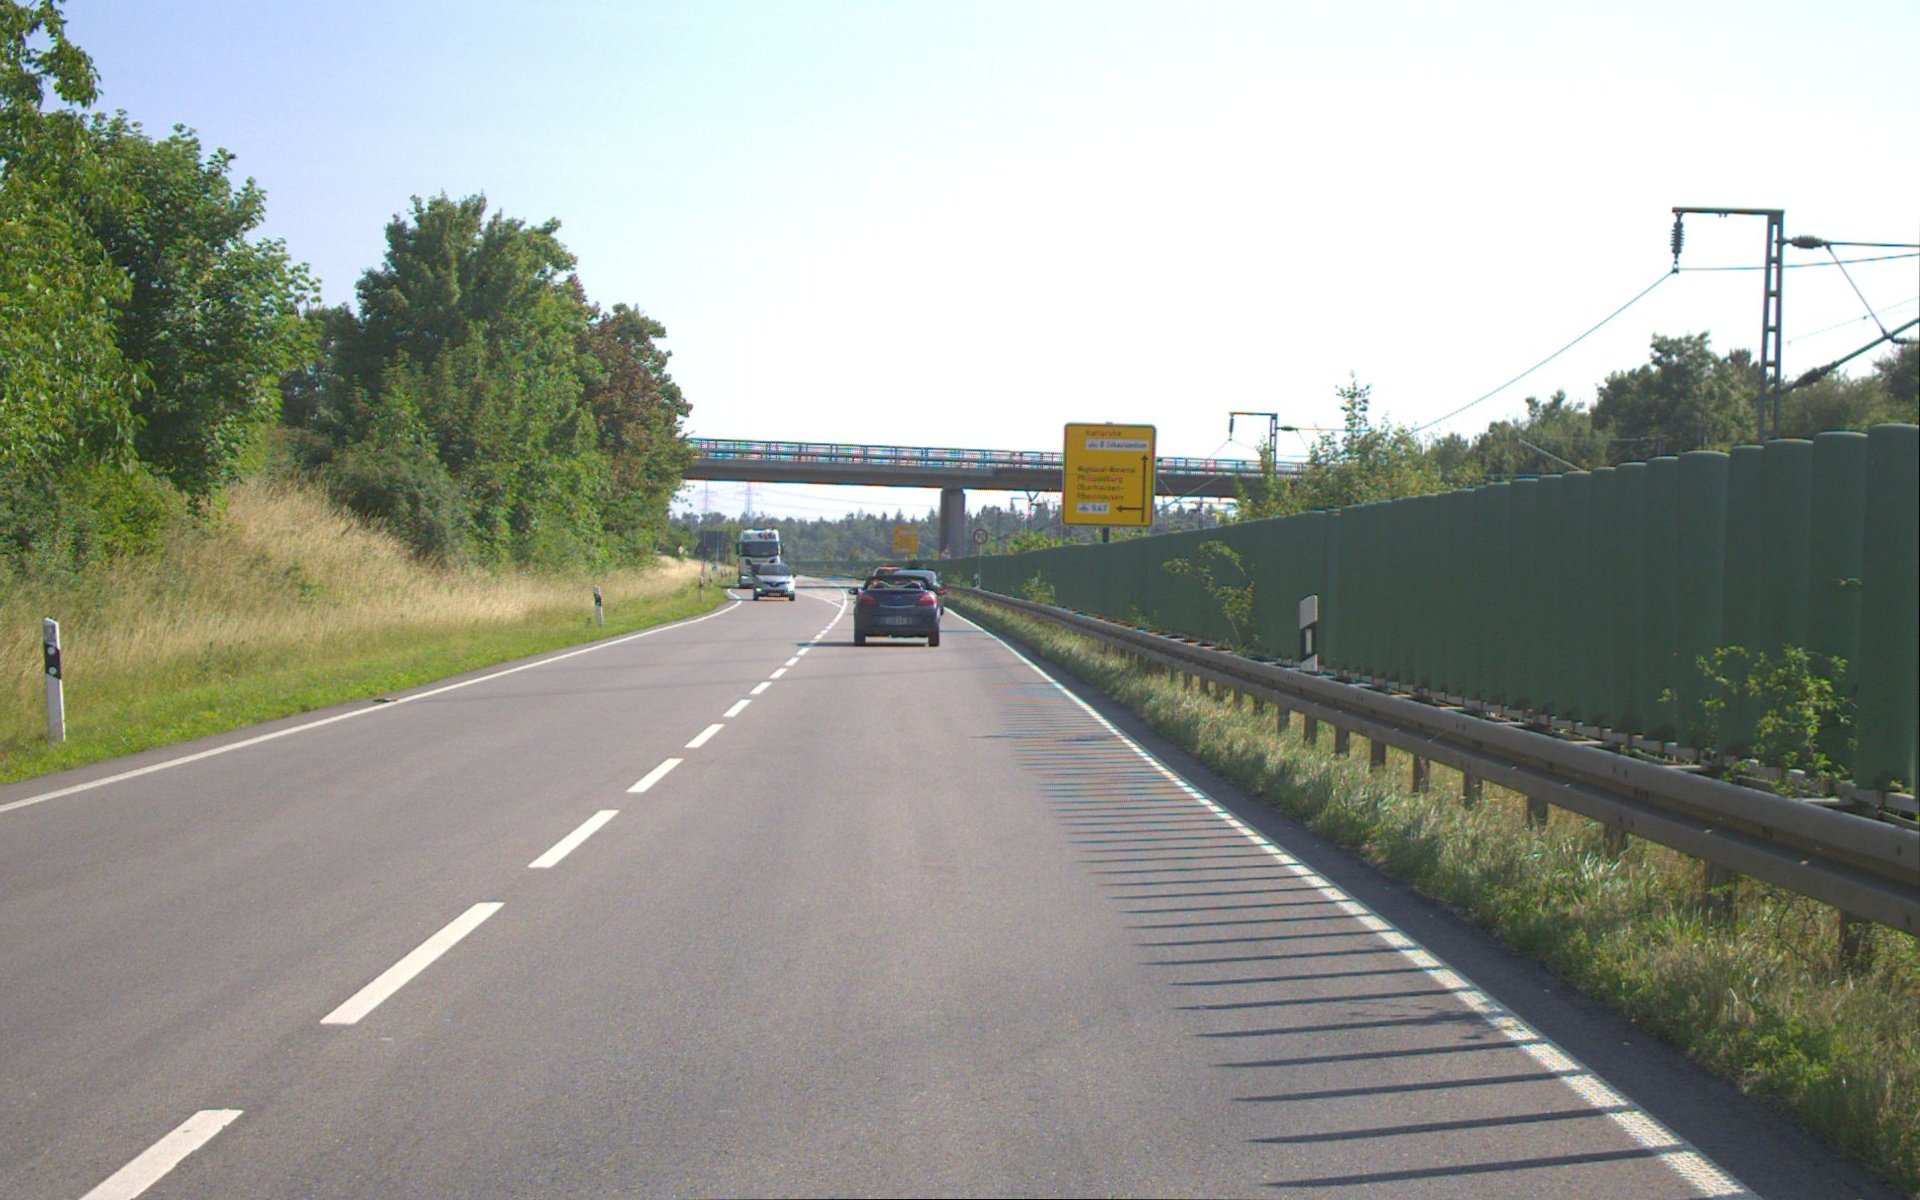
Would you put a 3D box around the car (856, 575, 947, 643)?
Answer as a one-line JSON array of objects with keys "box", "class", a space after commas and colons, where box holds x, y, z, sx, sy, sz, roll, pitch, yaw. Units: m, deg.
[{"box": [-1.161, 0.157, 66.427, 1.663, 1.257, 4.000, 1, 0, -2], "class": "car"}]

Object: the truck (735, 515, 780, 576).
[{"box": [-12.746, -3.433, 216.578, 2.559, 3.676, 10.488, 1, 1, -2], "class": "truck"}]

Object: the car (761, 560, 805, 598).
[{"box": [-7.546, -0.895, 146.699, 1.795, 1.588, 4.000, 1, 0, -2], "class": "car"}]

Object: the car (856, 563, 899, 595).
[{"box": [-3.774, -0.953, 157.329, 1.895, 1.413, 4.000, 1, 0, -2], "class": "car"}]
